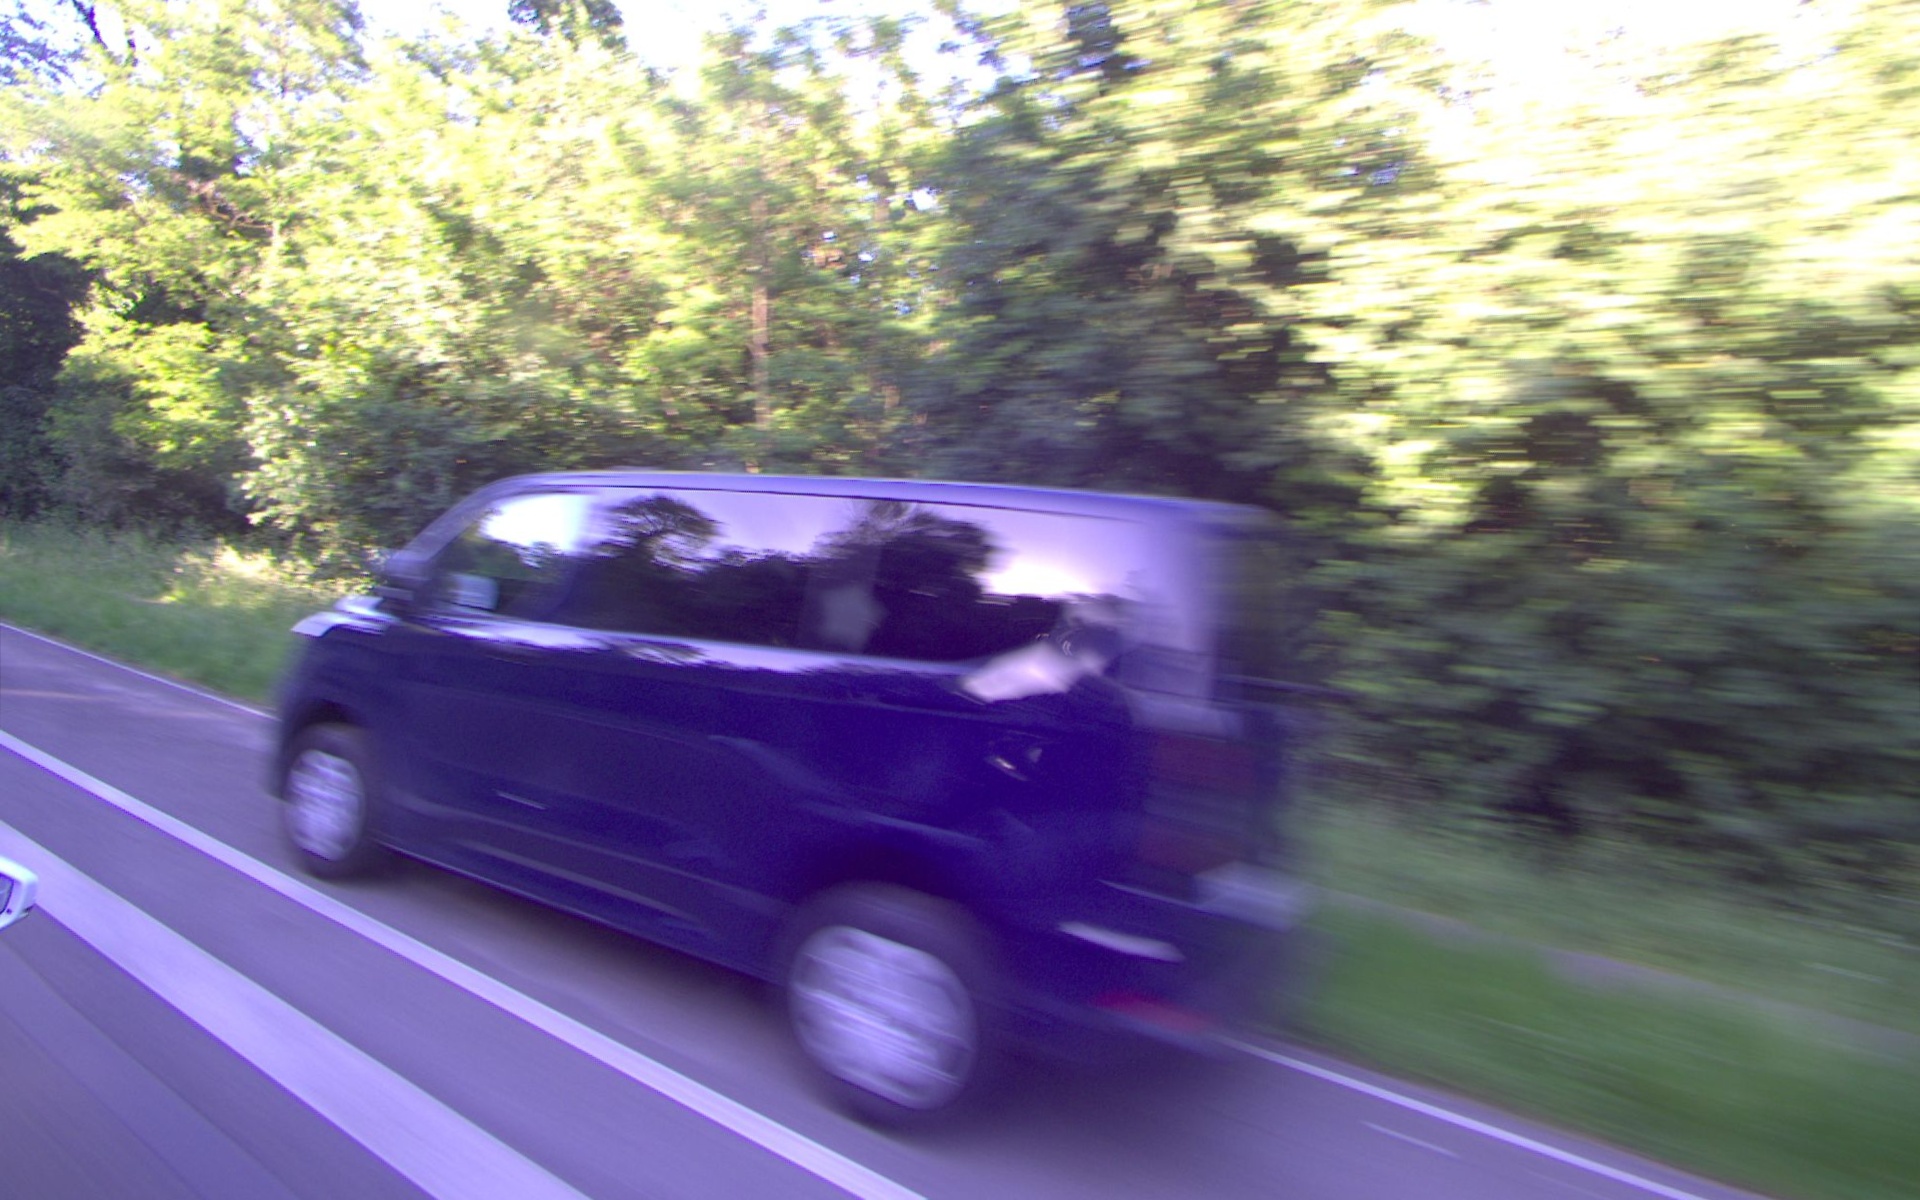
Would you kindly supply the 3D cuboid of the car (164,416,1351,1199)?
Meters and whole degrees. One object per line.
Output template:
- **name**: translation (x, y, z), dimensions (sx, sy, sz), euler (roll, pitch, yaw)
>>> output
- **car**: translation (-1.152, 0.461, 4.542), dimensions (4.956, 2.036, 2.118), euler (7, -2, 32)
